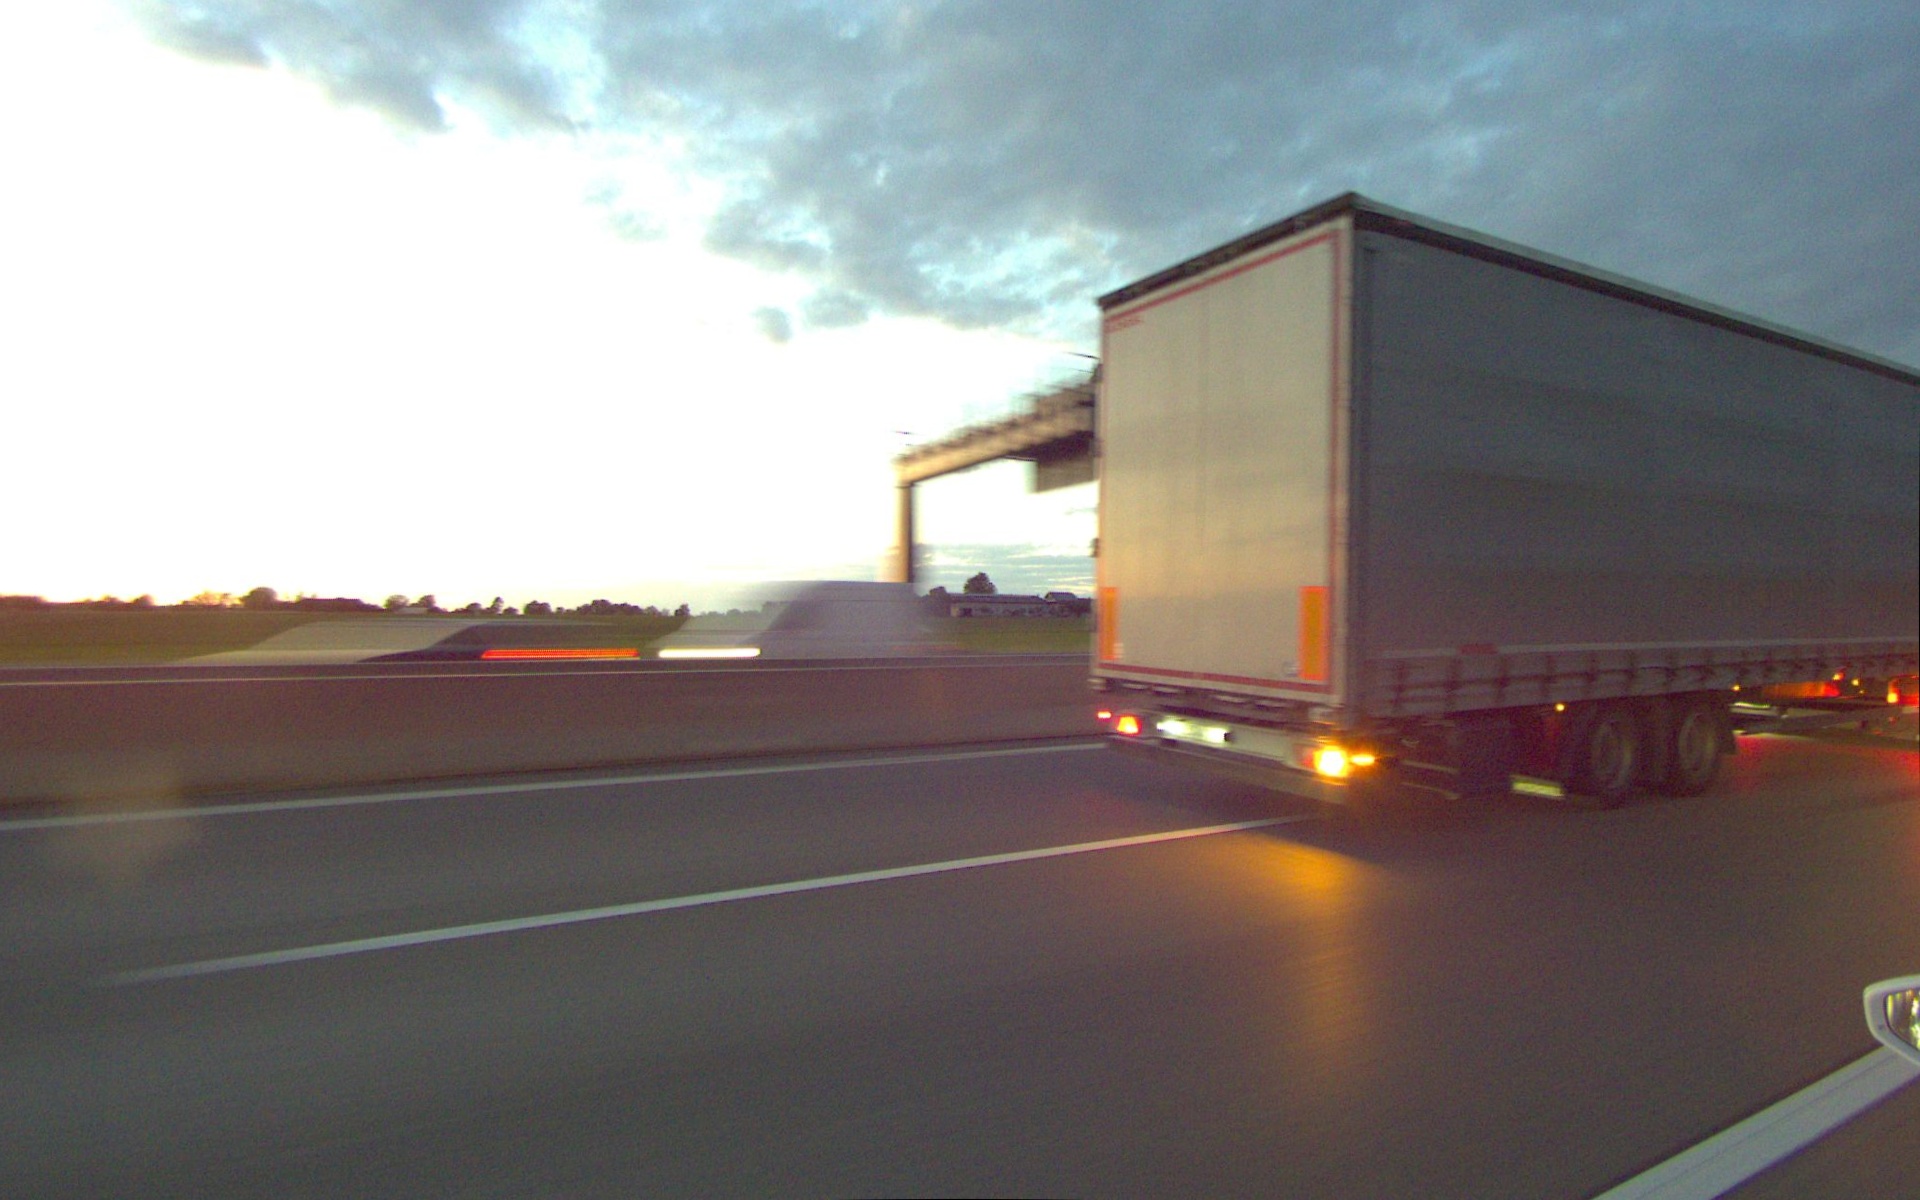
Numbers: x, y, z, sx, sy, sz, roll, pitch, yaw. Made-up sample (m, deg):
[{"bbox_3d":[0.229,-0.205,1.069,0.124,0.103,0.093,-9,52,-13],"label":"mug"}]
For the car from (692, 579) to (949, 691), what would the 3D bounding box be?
[{"bbox_3d":[-3.271,0.843,24.155,5.768,2.419,1.984,2,0,-31],"label":"car"}]

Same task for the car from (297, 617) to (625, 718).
[{"bbox_3d":[-8.167,1.071,16.699,4.605,1.431,1.984,2,0,-30],"label":"car"}]

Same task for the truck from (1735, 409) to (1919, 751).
[{"bbox_3d":[13.999,-0.149,14.178,6.030,4.146,2.765,2,-2,-30],"label":"truck"}]

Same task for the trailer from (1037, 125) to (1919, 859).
[{"bbox_3d":[7.544,-0.377,10.447,14.353,4.139,2.781,2,-2,-30],"label":"trailer"}]
